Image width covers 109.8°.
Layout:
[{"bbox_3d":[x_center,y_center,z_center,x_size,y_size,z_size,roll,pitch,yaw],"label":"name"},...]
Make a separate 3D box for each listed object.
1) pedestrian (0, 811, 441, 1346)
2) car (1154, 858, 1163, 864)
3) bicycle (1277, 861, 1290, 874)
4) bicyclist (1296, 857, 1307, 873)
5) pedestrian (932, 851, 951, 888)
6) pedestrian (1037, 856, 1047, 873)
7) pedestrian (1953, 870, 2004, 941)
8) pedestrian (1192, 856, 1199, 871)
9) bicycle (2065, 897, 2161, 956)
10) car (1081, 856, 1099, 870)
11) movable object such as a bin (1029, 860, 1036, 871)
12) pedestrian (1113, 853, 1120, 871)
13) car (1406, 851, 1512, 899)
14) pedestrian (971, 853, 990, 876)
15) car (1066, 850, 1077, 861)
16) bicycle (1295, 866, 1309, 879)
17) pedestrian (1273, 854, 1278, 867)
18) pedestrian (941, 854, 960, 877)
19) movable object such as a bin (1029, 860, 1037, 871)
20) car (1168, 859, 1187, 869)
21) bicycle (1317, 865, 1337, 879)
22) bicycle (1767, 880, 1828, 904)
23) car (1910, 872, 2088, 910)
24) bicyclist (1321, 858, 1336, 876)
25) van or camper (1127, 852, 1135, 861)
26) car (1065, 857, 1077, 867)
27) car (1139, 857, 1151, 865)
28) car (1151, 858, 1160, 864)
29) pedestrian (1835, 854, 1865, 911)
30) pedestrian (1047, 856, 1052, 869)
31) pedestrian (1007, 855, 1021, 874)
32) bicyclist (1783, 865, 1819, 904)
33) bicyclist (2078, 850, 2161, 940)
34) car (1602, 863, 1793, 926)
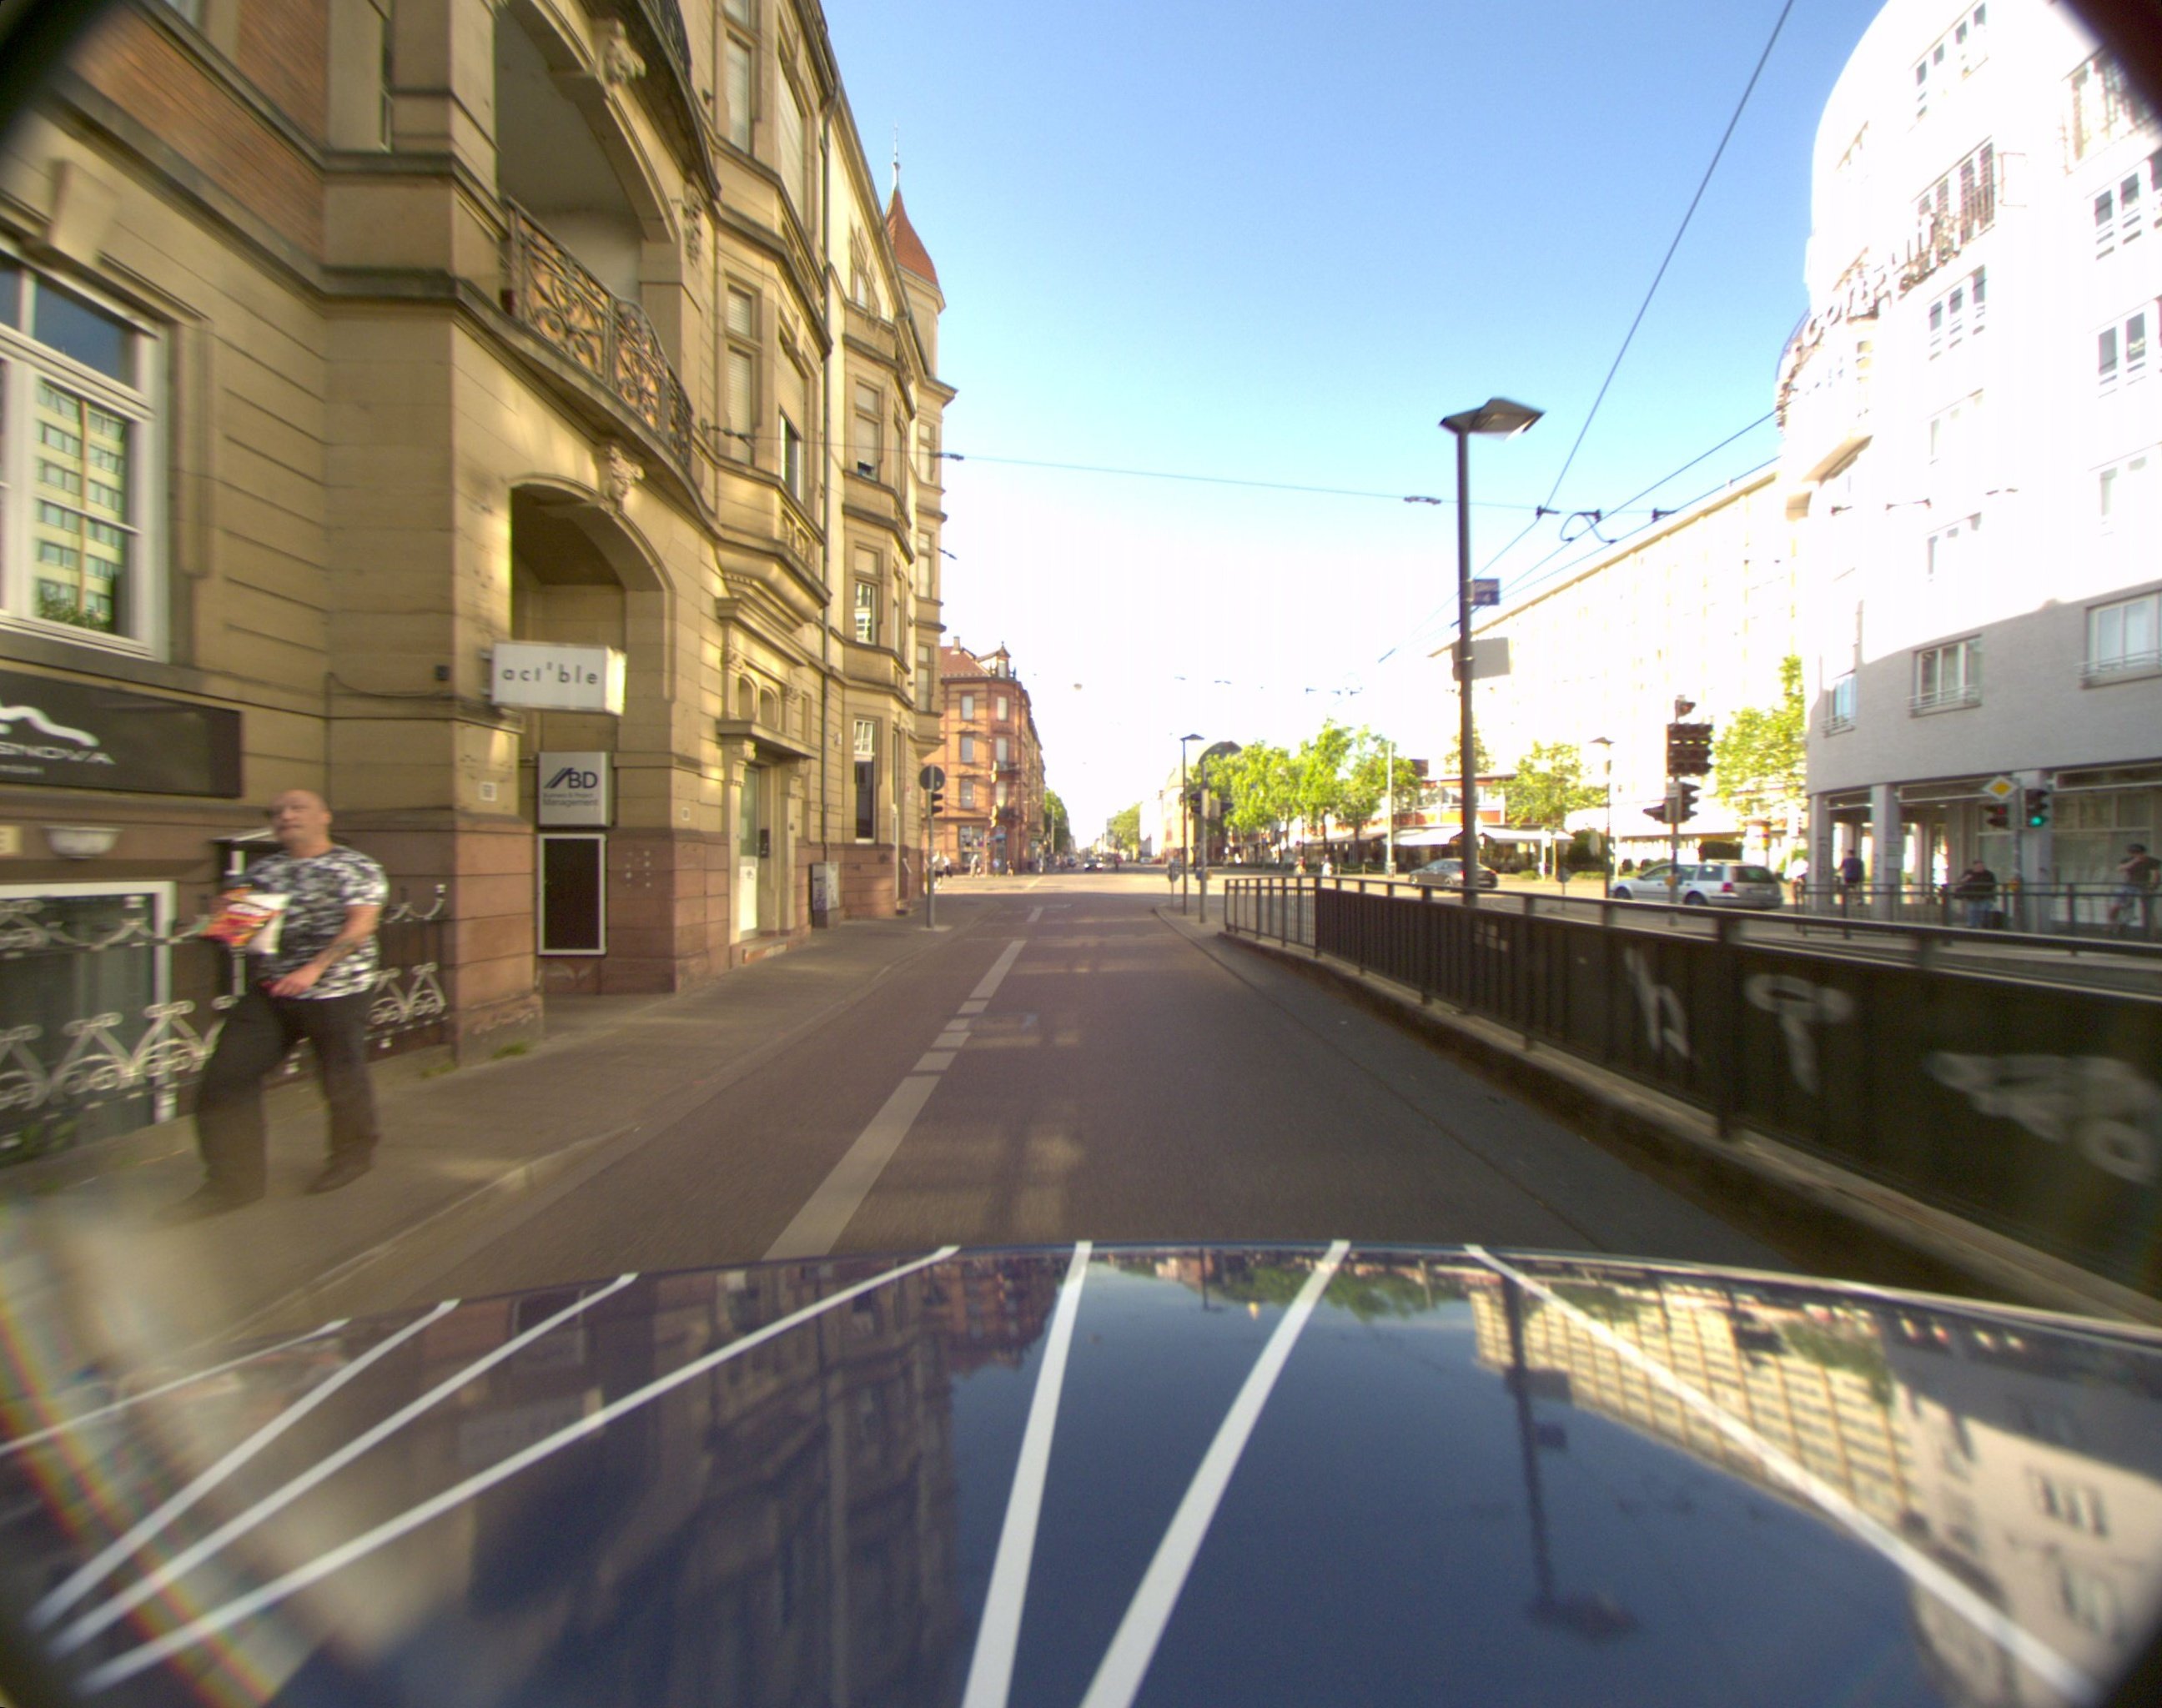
[{"bbox_3d":[-3.410,0.746,3.034,0.782,1.739,1.093,0,-1,-2],"label":"pedestrian"},{"bbox_3d":[17.915,1.574,175.455,1.753,1.445,3.471,0,0,-1],"label":"car"},{"bbox_3d":[18.666,1.217,70.046,0.498,1.179,2.235,0,0,-1],"label":"bicycle"},{"bbox_3d":[18.012,0.909,62.084,0.590,1.278,0.927,1,1,1],"label":"bicyclist"},{"bbox_3d":[-6.348,0.714,34.580,0.702,1.645,0.632,1,2,2],"label":"pedestrian"},{"bbox_3d":[-3.749,1.000,73.457,0.684,1.598,0.729,0,1,-28],"label":"pedestrian"},{"bbox_3d":[19.716,1.120,16.693,0.443,1.525,0.682,1,-1,-36],"label":"pedestrian"},{"bbox_3d":[11.634,0.990,77.174,0.501,1.509,0.859,2,0,0],"label":"pedestrian"},{"bbox_3d":[20.126,1.370,14.689,0.676,0.974,1.765,0,0,28],"label":"bicycle"},{"bbox_3d":[0.972,0.980,82.884,1.815,1.415,4.153,-1,0,0],"label":"car"},{"bbox_3d":[-4.859,1.118,76.134,0.664,1.066,0.545,3,1,3],"label":"movable object such as a bin"},{"bbox_3d":[3.553,0.823,75.543,0.559,1.753,0.895,2,0,0],"label":"pedestrian"},{"bbox_3d":[16.116,0.840,32.717,2.233,1.900,4.608,0,0,0],"label":"car"},{"bbox_3d":[-7.312,0.750,55.321,0.939,1.623,0.927,2,2,34],"label":"pedestrian"},{"bbox_3d":[-1.514,0.255,121.618,1.694,1.703,4.614,-1,0,-2],"label":"car"},{"bbox_3d":[18.063,1.478,62.151,0.595,0.967,1.817,1,1,1],"label":"bicycle"},{"bbox_3d":[27.377,0.916,107.029,0.574,1.761,0.706,1,0,2],"label":"pedestrian"},{"bbox_3d":[-9.451,0.843,54.863,1.006,1.623,0.927,2,2,43],"label":"pedestrian"},{"bbox_3d":[-4.815,1.157,76.723,0.664,1.066,0.591,3,1,3],"label":"movable object such as a bin"},{"bbox_3d":[14.007,1.401,110.356,1.999,1.443,4.649,0,0,-1],"label":"car"},{"bbox_3d":[17.876,1.299,55.161,0.596,0.967,1.852,0,1,-9],"label":"bicycle"},{"bbox_3d":[29.660,1.565,31.468,2.047,0.967,0.595,0,1,-5],"label":"bicycle"},{"bbox_3d":[35.996,1.416,29.959,1.804,1.394,4.098,0,-2,-13],"label":"car"},{"bbox_3d":[17.910,0.927,54.971,0.590,1.278,0.991,0,1,-9],"label":"bicyclist"},{"bbox_3d":[16.575,0.842,252.930,2.041,2.723,7.020,1,0,0],"label":"van or camper"},{"bbox_3d":[-1.442,1.109,110.172,1.694,1.442,4.359,-1,0,0],"label":"car"},{"bbox_3d":[13.151,1.443,155.883,1.999,1.443,4.501,0,0,-1],"label":"car"},{"bbox_3d":[18.087,1.681,185.182,1.856,1.445,3.853,0,0,1],"label":"car"},{"bbox_3d":[25.097,0.934,24.807,0.747,1.821,0.461,0,-1,-27],"label":"pedestrian"},{"bbox_3d":[-4.746,1.263,113.768,0.686,1.901,1.063,-1,1,3],"label":"pedestrian"},{"bbox_3d":[-5.488,0.865,62.117,0.633,1.529,0.944,2,2,32],"label":"pedestrian"},{"bbox_3d":[29.854,1.269,31.521,0.895,1.576,0.590,0,2,-5],"label":"bicyclist"},{"bbox_3d":[20.123,0.760,14.637,0.722,1.686,1.031,0,1,28],"label":"bicyclist"},{"bbox_3d":[16.898,1.050,21.169,1.733,1.506,4.404,0,0,0],"label":"car"}]
